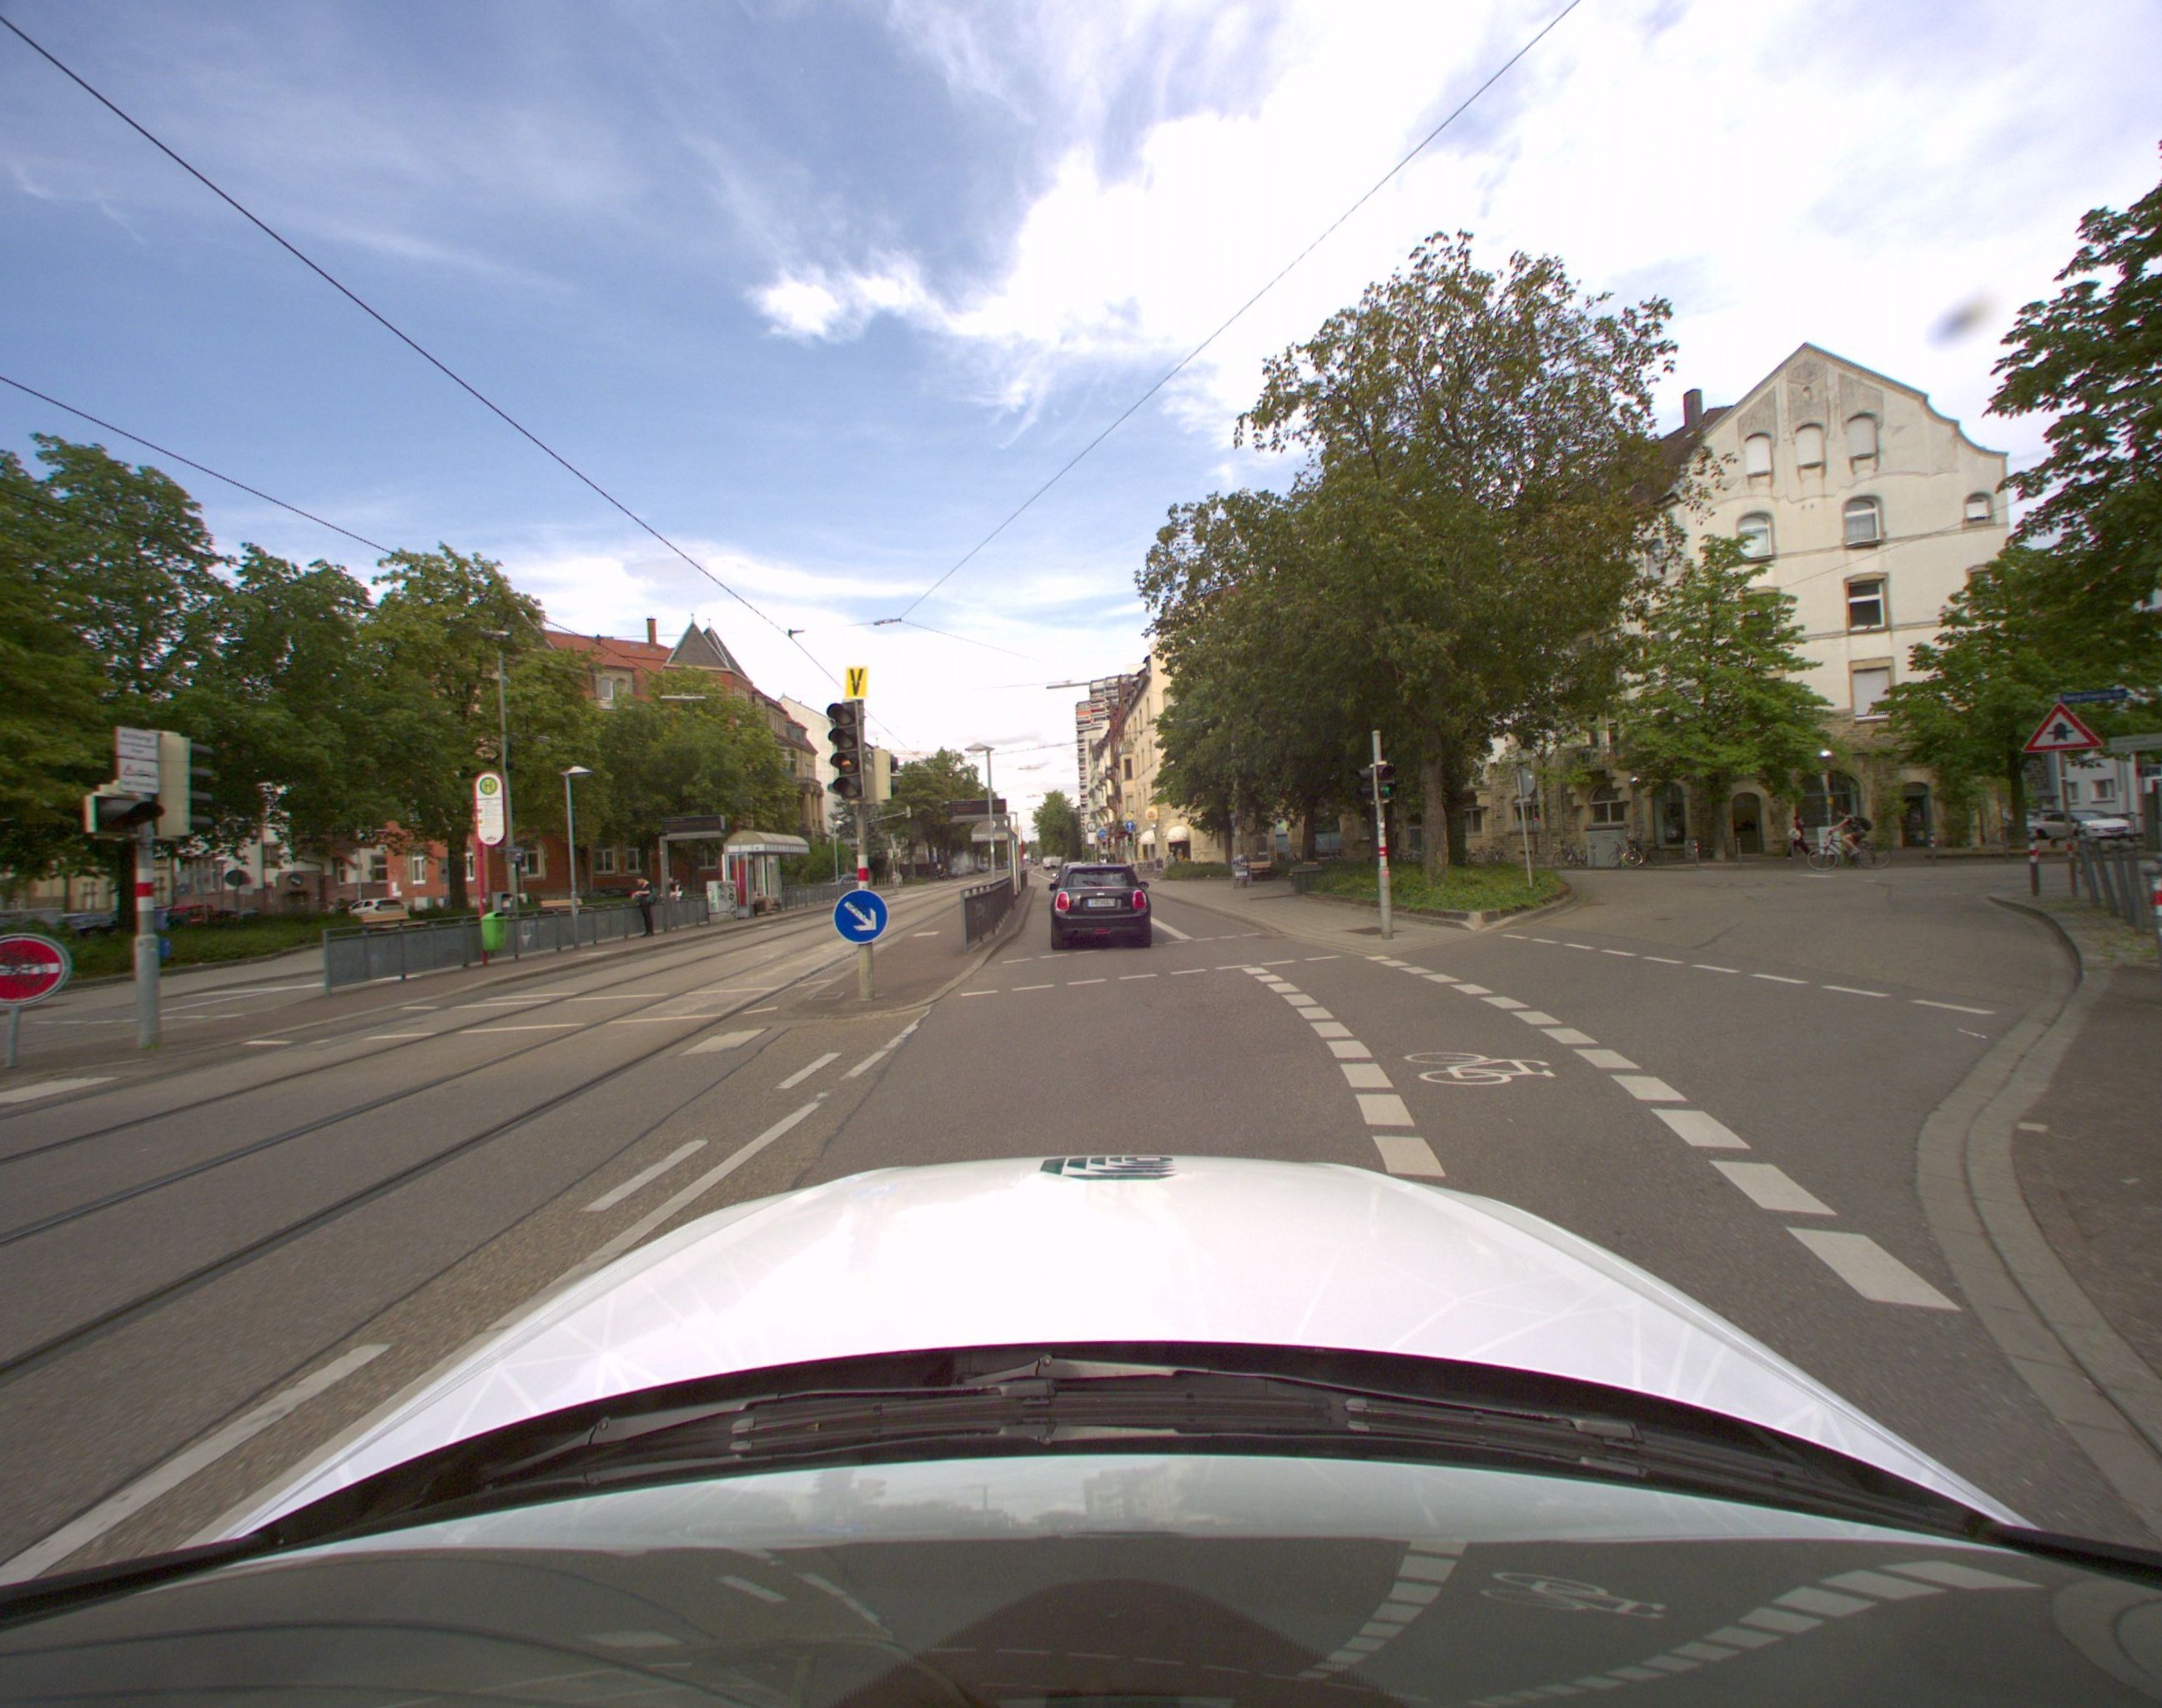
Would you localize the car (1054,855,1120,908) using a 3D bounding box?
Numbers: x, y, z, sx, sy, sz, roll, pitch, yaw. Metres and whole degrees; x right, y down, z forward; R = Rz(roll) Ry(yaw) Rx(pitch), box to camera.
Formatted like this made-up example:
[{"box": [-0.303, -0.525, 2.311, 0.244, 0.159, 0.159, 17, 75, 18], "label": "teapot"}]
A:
[{"box": [0.162, 0.843, 26.630, 1.921, 1.510, 3.999, -3, 0, 0], "label": "car"}]

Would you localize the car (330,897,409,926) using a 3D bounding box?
[{"box": [-43.023, 3.454, 49.261, 3.953, 1.478, 1.825, -3, -1, 20], "label": "car"}]

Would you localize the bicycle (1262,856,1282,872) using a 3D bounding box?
[{"box": [12.436, 0.644, 53.037, 0.526, 0.972, 1.660, -4, -1, 39], "label": "bicycle"}]

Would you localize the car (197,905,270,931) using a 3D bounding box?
[{"box": [-55.452, 4.188, 53.293, 3.953, 1.395, 1.825, -3, -1, 20], "label": "car"}]

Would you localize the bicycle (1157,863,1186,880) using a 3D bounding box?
[{"box": [6.098, 1.193, 55.100, 1.797, 1.076, 0.621, -4, 0, 36], "label": "bicycle"}]

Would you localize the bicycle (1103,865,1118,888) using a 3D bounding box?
[{"box": [1.585, 1.188, 43.833, 0.682, 1.170, 1.696, -3, 0, 0], "label": "bicycle"}]

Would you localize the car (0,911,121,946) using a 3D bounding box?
[{"box": [-52.708, 3.789, 41.814, 1.794, 1.395, 4.020, -3, -1, 19], "label": "car"}]

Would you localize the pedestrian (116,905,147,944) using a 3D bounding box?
[{"box": [-45.155, 3.331, 38.720, 0.724, 1.754, 0.687, -3, 0, 18], "label": "pedestrian"}]

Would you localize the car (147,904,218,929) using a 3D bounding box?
[{"box": [-60.670, 4.226, 54.989, 3.953, 1.395, 1.825, -3, -1, 20], "label": "car"}]

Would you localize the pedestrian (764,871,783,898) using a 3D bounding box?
[{"box": [-19.001, 1.888, 50.302, 0.868, 1.632, 0.743, -3, -1, -8], "label": "pedestrian"}]

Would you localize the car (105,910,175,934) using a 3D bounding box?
[{"box": [-65.368, 4.730, 56.556, 3.953, 1.395, 1.825, -3, -1, 20], "label": "car"}]

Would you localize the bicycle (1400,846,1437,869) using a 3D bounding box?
[{"box": [18.873, 0.196, 45.504, 1.888, 1.128, 0.561, -3, -1, -12], "label": "bicycle"}]

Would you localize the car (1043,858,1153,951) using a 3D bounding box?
[{"box": [0.343, 0.824, 15.099, 1.745, 1.441, 4.002, -1, 0, 2], "label": "car"}]

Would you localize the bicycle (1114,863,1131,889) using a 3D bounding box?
[{"box": [2.013, 1.036, 39.385, 0.597, 1.170, 1.695, -3, 0, -2], "label": "bicycle"}]

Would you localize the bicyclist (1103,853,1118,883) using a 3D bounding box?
[{"box": [1.561, 0.728, 43.780, 0.682, 1.564, 0.998, -3, 0, -1], "label": "bicyclist"}]

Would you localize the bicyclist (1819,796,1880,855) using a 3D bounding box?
[{"box": [22.145, -0.814, 23.485, 1.124, 1.606, 0.650, -4, -1, 35], "label": "bicyclist"}]

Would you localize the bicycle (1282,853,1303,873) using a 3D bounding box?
[{"box": [13.435, 0.571, 51.719, 0.526, 1.128, 1.906, -4, -1, 39], "label": "bicycle"}]

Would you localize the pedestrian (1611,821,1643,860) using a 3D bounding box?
[{"box": [24.544, -0.609, 36.615, 0.730, 1.676, 0.833, -3, -1, -9], "label": "pedestrian"}]

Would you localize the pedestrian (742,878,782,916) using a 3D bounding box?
[{"box": [-11.493, 1.536, 29.348, 1.058, 1.293, 0.983, -3, -1, -8], "label": "pedestrian"}]

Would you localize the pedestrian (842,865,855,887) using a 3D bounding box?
[{"box": [-19.313, 1.795, 67.599, 0.728, 1.783, 0.834, -3, -1, -2], "label": "pedestrian"}]

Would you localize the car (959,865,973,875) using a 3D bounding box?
[{"box": [-19.487, 2.753, 138.067, 1.989, 1.552, 3.997, -3, 0, -2], "label": "car"}]

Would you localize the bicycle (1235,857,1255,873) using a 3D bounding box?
[{"box": [11.066, 0.715, 54.956, 0.595, 0.972, 1.683, -4, -1, 35], "label": "bicycle"}]

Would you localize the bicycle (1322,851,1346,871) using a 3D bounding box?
[{"box": [15.481, 0.400, 49.739, 0.659, 1.128, 1.906, -4, -1, 39], "label": "bicycle"}]

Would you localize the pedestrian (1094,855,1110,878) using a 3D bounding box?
[{"box": [1.666, 1.011, 64.474, 0.723, 1.674, 0.840, -7, 0, 44], "label": "pedestrian"}]

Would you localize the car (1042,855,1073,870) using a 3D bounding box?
[{"box": [-4.193, 1.520, 144.523, 5.068, 2.272, 2.367, -3, -1, -43], "label": "car"}]

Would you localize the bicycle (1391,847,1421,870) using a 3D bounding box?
[{"box": [18.437, 0.262, 46.192, 1.901, 1.127, 0.527, -5, 0, -34], "label": "bicycle"}]

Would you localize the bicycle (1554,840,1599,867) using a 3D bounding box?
[{"box": [22.235, -0.018, 36.552, 1.890, 1.128, 0.530, -3, -1, -14], "label": "bicycle"}]

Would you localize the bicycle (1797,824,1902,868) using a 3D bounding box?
[{"box": [22.130, -0.225, 23.512, 2.075, 1.152, 0.659, -4, 0, 35], "label": "bicycle"}]

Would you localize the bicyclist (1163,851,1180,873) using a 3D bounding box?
[{"box": [6.133, 0.533, 55.054, 0.903, 1.473, 0.621, -4, -1, 36], "label": "bicyclist"}]

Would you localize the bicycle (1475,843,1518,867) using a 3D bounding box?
[{"box": [20.829, 0.054, 40.812, 1.885, 1.128, 0.531, -3, -1, -7], "label": "bicycle"}]

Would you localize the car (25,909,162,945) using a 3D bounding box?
[{"box": [-50.151, 3.670, 41.467, 1.794, 1.395, 4.020, -3, -1, 19], "label": "car"}]

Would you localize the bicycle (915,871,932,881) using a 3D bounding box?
[{"box": [-17.785, 2.488, 91.996, 1.681, 1.119, 0.566, -3, 0, -42], "label": "bicycle"}]

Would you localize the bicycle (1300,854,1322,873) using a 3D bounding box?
[{"box": [14.397, 0.580, 50.901, 0.526, 1.128, 1.906, -4, -1, 39], "label": "bicycle"}]

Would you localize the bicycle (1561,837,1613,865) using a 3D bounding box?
[{"box": [22.151, -0.117, 35.645, 1.880, 1.128, 0.533, -3, -1, 2], "label": "bicycle"}]

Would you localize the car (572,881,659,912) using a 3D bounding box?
[{"box": [-27.000, 2.436, 47.274, 4.024, 1.478, 1.793, -3, -1, -45], "label": "car"}]

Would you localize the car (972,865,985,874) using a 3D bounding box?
[{"box": [-20.261, 3.070, 161.077, 1.989, 1.552, 3.997, -3, 0, -2], "label": "car"}]

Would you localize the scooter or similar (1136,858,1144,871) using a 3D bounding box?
[{"box": [5.368, 0.947, 73.585, 0.507, 1.188, 1.260, -3, 0, -2], "label": "scooter or similar"}]

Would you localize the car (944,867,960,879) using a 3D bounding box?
[{"box": [-17.639, 2.581, 111.509, 1.763, 1.395, 3.995, -3, 0, -3], "label": "car"}]

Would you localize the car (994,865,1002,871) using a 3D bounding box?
[{"box": [-22.767, 3.835, 223.891, 1.989, 1.552, 3.997, -3, 0, -2], "label": "car"}]

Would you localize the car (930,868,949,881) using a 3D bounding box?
[{"box": [-17.239, 2.474, 99.500, 1.763, 1.395, 3.995, -3, 0, -3], "label": "car"}]

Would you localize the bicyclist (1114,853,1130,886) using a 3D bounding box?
[{"box": [1.998, 0.750, 39.384, 0.593, 1.550, 1.013, -3, 0, -2], "label": "bicyclist"}]

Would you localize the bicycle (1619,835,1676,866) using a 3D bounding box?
[{"box": [22.679, -0.149, 32.629, 1.882, 1.128, 0.532, -3, -1, -2], "label": "bicycle"}]

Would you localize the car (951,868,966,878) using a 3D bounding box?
[{"box": [-17.928, 2.758, 119.168, 1.763, 1.395, 3.995, -3, 0, -3], "label": "car"}]

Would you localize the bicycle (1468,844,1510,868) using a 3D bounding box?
[{"box": [20.727, 0.104, 41.391, 1.885, 1.128, 0.531, -3, -1, -7], "label": "bicycle"}]

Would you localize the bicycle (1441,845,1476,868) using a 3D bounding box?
[{"box": [20.005, 0.120, 43.154, 1.897, 1.128, 0.589, -3, -1, -26], "label": "bicycle"}]

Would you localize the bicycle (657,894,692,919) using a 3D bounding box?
[{"box": [-17.069, 2.198, 34.226, 0.659, 0.949, 1.548, -3, -1, -2], "label": "bicycle"}]

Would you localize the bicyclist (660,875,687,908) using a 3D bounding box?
[{"box": [-17.107, 1.565, 34.232, 0.659, 1.339, 0.835, -3, -1, -3], "label": "bicyclist"}]

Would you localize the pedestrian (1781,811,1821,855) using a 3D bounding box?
[{"box": [27.552, -0.784, 31.171, 0.826, 1.623, 0.736, -3, -1, 17], "label": "pedestrian"}]

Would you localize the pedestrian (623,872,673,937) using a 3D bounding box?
[{"box": [-11.349, 1.307, 21.380, 0.851, 1.621, 0.841, -3, -1, -8], "label": "pedestrian"}]

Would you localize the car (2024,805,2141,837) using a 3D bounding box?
[{"box": [49.660, -1.602, 40.500, 1.752, 1.395, 4.019, -3, 0, 19], "label": "car"}]

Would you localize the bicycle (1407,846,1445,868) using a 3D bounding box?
[{"box": [19.037, 0.182, 44.926, 1.888, 1.128, 0.596, -3, -1, -12], "label": "bicycle"}]

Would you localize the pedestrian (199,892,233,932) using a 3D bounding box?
[{"box": [-39.752, 2.656, 37.439, 0.745, 1.754, 0.736, -3, 0, 16], "label": "pedestrian"}]

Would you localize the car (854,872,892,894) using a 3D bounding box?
[{"box": [-15.318, 2.114, 60.121, 1.746, 1.441, 3.998, -1, 0, -1], "label": "car"}]
